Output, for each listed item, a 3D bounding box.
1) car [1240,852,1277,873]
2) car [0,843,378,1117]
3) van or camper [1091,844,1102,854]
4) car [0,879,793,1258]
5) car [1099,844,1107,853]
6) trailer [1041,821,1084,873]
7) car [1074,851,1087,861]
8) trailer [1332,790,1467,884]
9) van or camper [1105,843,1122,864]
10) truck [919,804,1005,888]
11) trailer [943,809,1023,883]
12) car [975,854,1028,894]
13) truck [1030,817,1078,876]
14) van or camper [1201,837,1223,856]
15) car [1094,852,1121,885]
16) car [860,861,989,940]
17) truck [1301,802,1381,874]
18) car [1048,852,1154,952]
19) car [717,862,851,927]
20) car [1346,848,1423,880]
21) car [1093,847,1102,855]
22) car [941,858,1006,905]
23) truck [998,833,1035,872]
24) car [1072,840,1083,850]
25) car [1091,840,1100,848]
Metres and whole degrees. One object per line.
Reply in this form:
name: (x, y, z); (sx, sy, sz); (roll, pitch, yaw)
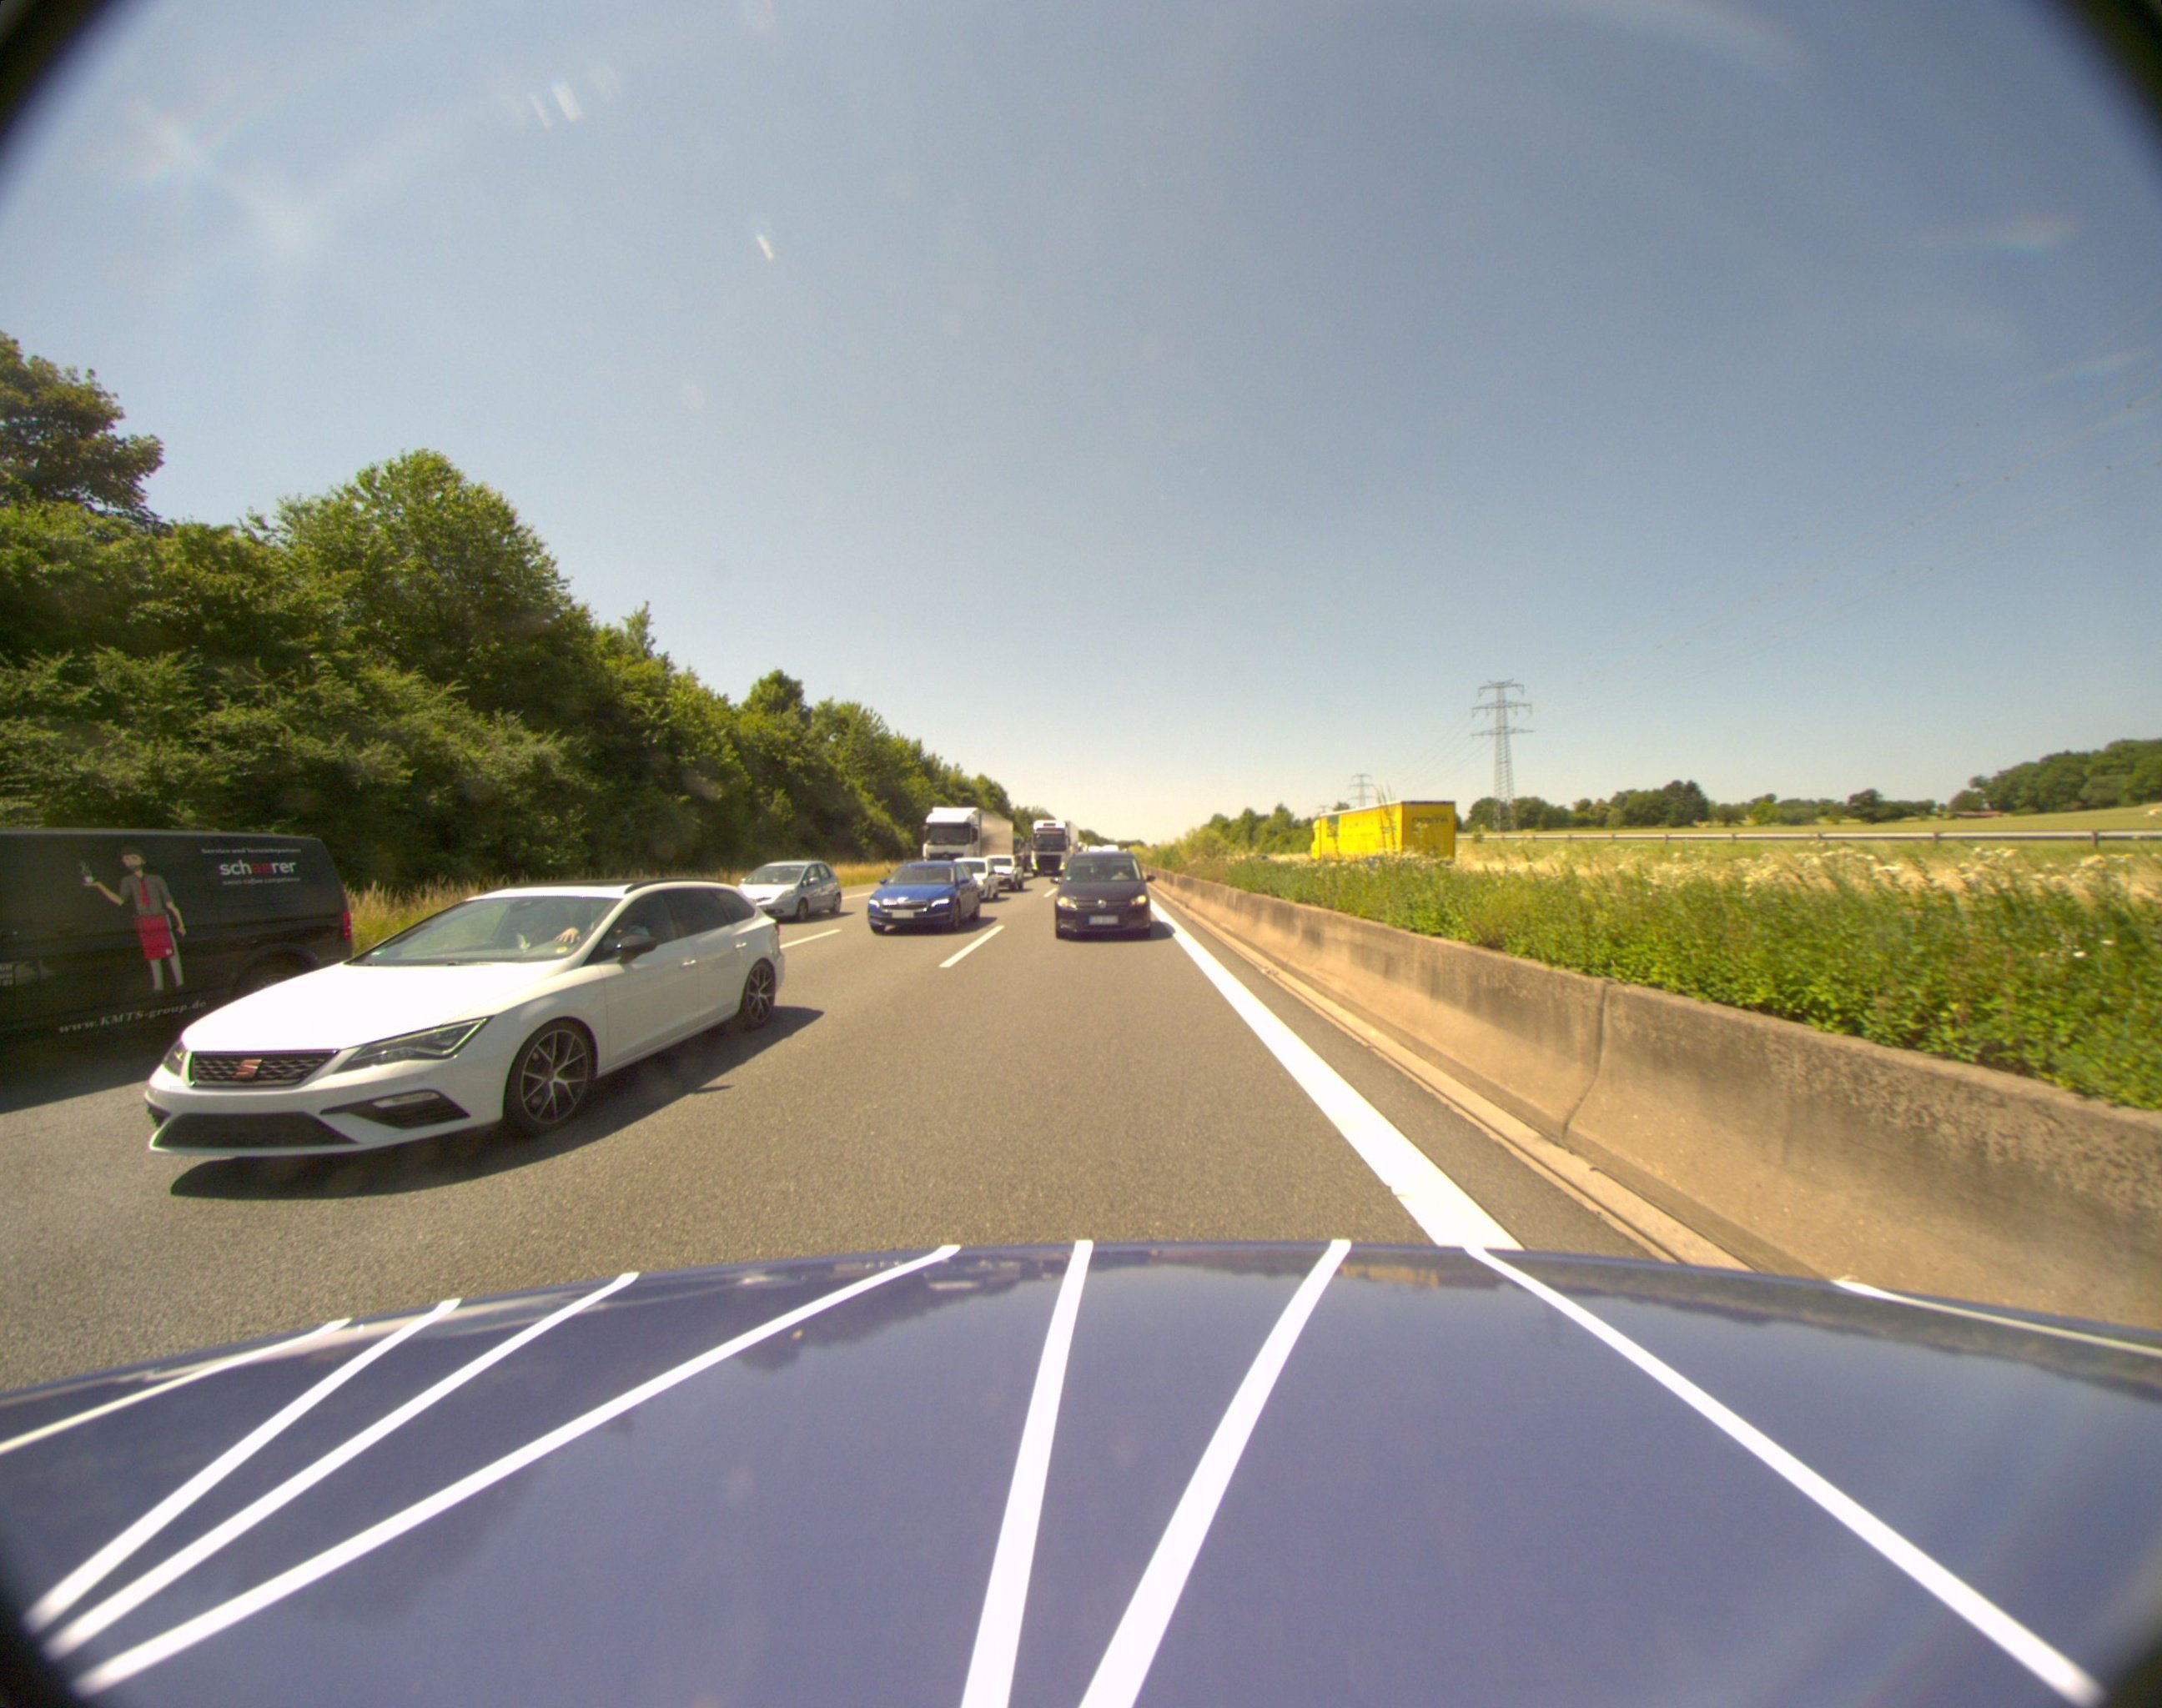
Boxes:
car: (13.181, 0.587, 56.755); (1.874, 1.457, 4.099); (-2, 0, 2)
car: (-8.611, 0.909, 5.732); (1.918, 1.929, 4.856); (-1, 1, 2)
van or camper: (3.326, -1.046, 165.010); (2.189, 2.018, 4.364); (-2, 1, 3)
car: (-3.865, 1.028, 5.499); (1.752, 1.435, 4.313); (-1, 1, 2)
car: (6.037, -1.501, 205.079); (1.998, 2.302, 4.229); (-2, 1, 2)
trailer: (-1.447, -0.613, 63.907); (2.776, 3.951, 9.156); (-2, 1, 3)
car: (-0.066, 0.276, 103.439); (1.650, 1.336, 3.381); (-2, 1, 3)
trailer: (16.413, -0.877, 40.273); (2.828, 4.182, 10.685); (-3, 1, 2)
van or camper: (3.993, -0.055, 92.831); (1.956, 2.368, 4.037); (-3, 1, 3)
truck: (-6.395, -0.455, 42.256); (2.879, 4.133, 8.476); (-2, 1, 3)
trailer: (-6.034, -0.522, 49.114); (2.879, 4.132, 12.076); (-2, 1, 3)
car: (-3.354, 0.800, 32.774); (1.748, 1.549, 3.884); (0, 1, 2)
truck: (-1.849, -0.580, 56.284); (2.750, 3.972, 8.361); (-2, 1, 3)
van or camper: (20.645, -1.175, 120.026); (2.558, 2.822, 7.067); (-2, 0, 3)
car: (1.447, 0.772, 41.190); (1.357, 1.630, 2.994); (-3, 1, 3)
car: (-3.324, 0.931, 17.058); (1.780, 1.408, 4.572); (0, 1, 2)
truck: (16.696, -1.022, 49.307); (2.785, 4.212, 7.324); (-3, 1, 2)
car: (0.441, 0.801, 15.462); (1.758, 1.571, 5.291); (-1, 1, 2)
car: (-7.499, 0.965, 19.616); (1.666, 1.453, 3.923); (0, 0, 4)
car: (11.822, 0.356, 29.774); (1.679, 1.124, 3.342); (-2, 1, 1)
car: (3.187, -0.606, 148.712); (1.652, 1.636, 4.000); (-2, 1, 3)
car: (-3.635, 0.904, 26.364); (1.609, 1.426, 3.809); (0, 1, 2)
truck: (-5.495, -0.178, 65.609); (2.299, 3.128, 5.675); (-2, 1, 3)
car: (-0.714, -1.777, 157.892); (1.998, 2.002, 4.000); (-2, 1, 2)
car: (3.570, -2.485, 188.379); (1.998, 2.002, 4.000); (-2, 1, 3)
